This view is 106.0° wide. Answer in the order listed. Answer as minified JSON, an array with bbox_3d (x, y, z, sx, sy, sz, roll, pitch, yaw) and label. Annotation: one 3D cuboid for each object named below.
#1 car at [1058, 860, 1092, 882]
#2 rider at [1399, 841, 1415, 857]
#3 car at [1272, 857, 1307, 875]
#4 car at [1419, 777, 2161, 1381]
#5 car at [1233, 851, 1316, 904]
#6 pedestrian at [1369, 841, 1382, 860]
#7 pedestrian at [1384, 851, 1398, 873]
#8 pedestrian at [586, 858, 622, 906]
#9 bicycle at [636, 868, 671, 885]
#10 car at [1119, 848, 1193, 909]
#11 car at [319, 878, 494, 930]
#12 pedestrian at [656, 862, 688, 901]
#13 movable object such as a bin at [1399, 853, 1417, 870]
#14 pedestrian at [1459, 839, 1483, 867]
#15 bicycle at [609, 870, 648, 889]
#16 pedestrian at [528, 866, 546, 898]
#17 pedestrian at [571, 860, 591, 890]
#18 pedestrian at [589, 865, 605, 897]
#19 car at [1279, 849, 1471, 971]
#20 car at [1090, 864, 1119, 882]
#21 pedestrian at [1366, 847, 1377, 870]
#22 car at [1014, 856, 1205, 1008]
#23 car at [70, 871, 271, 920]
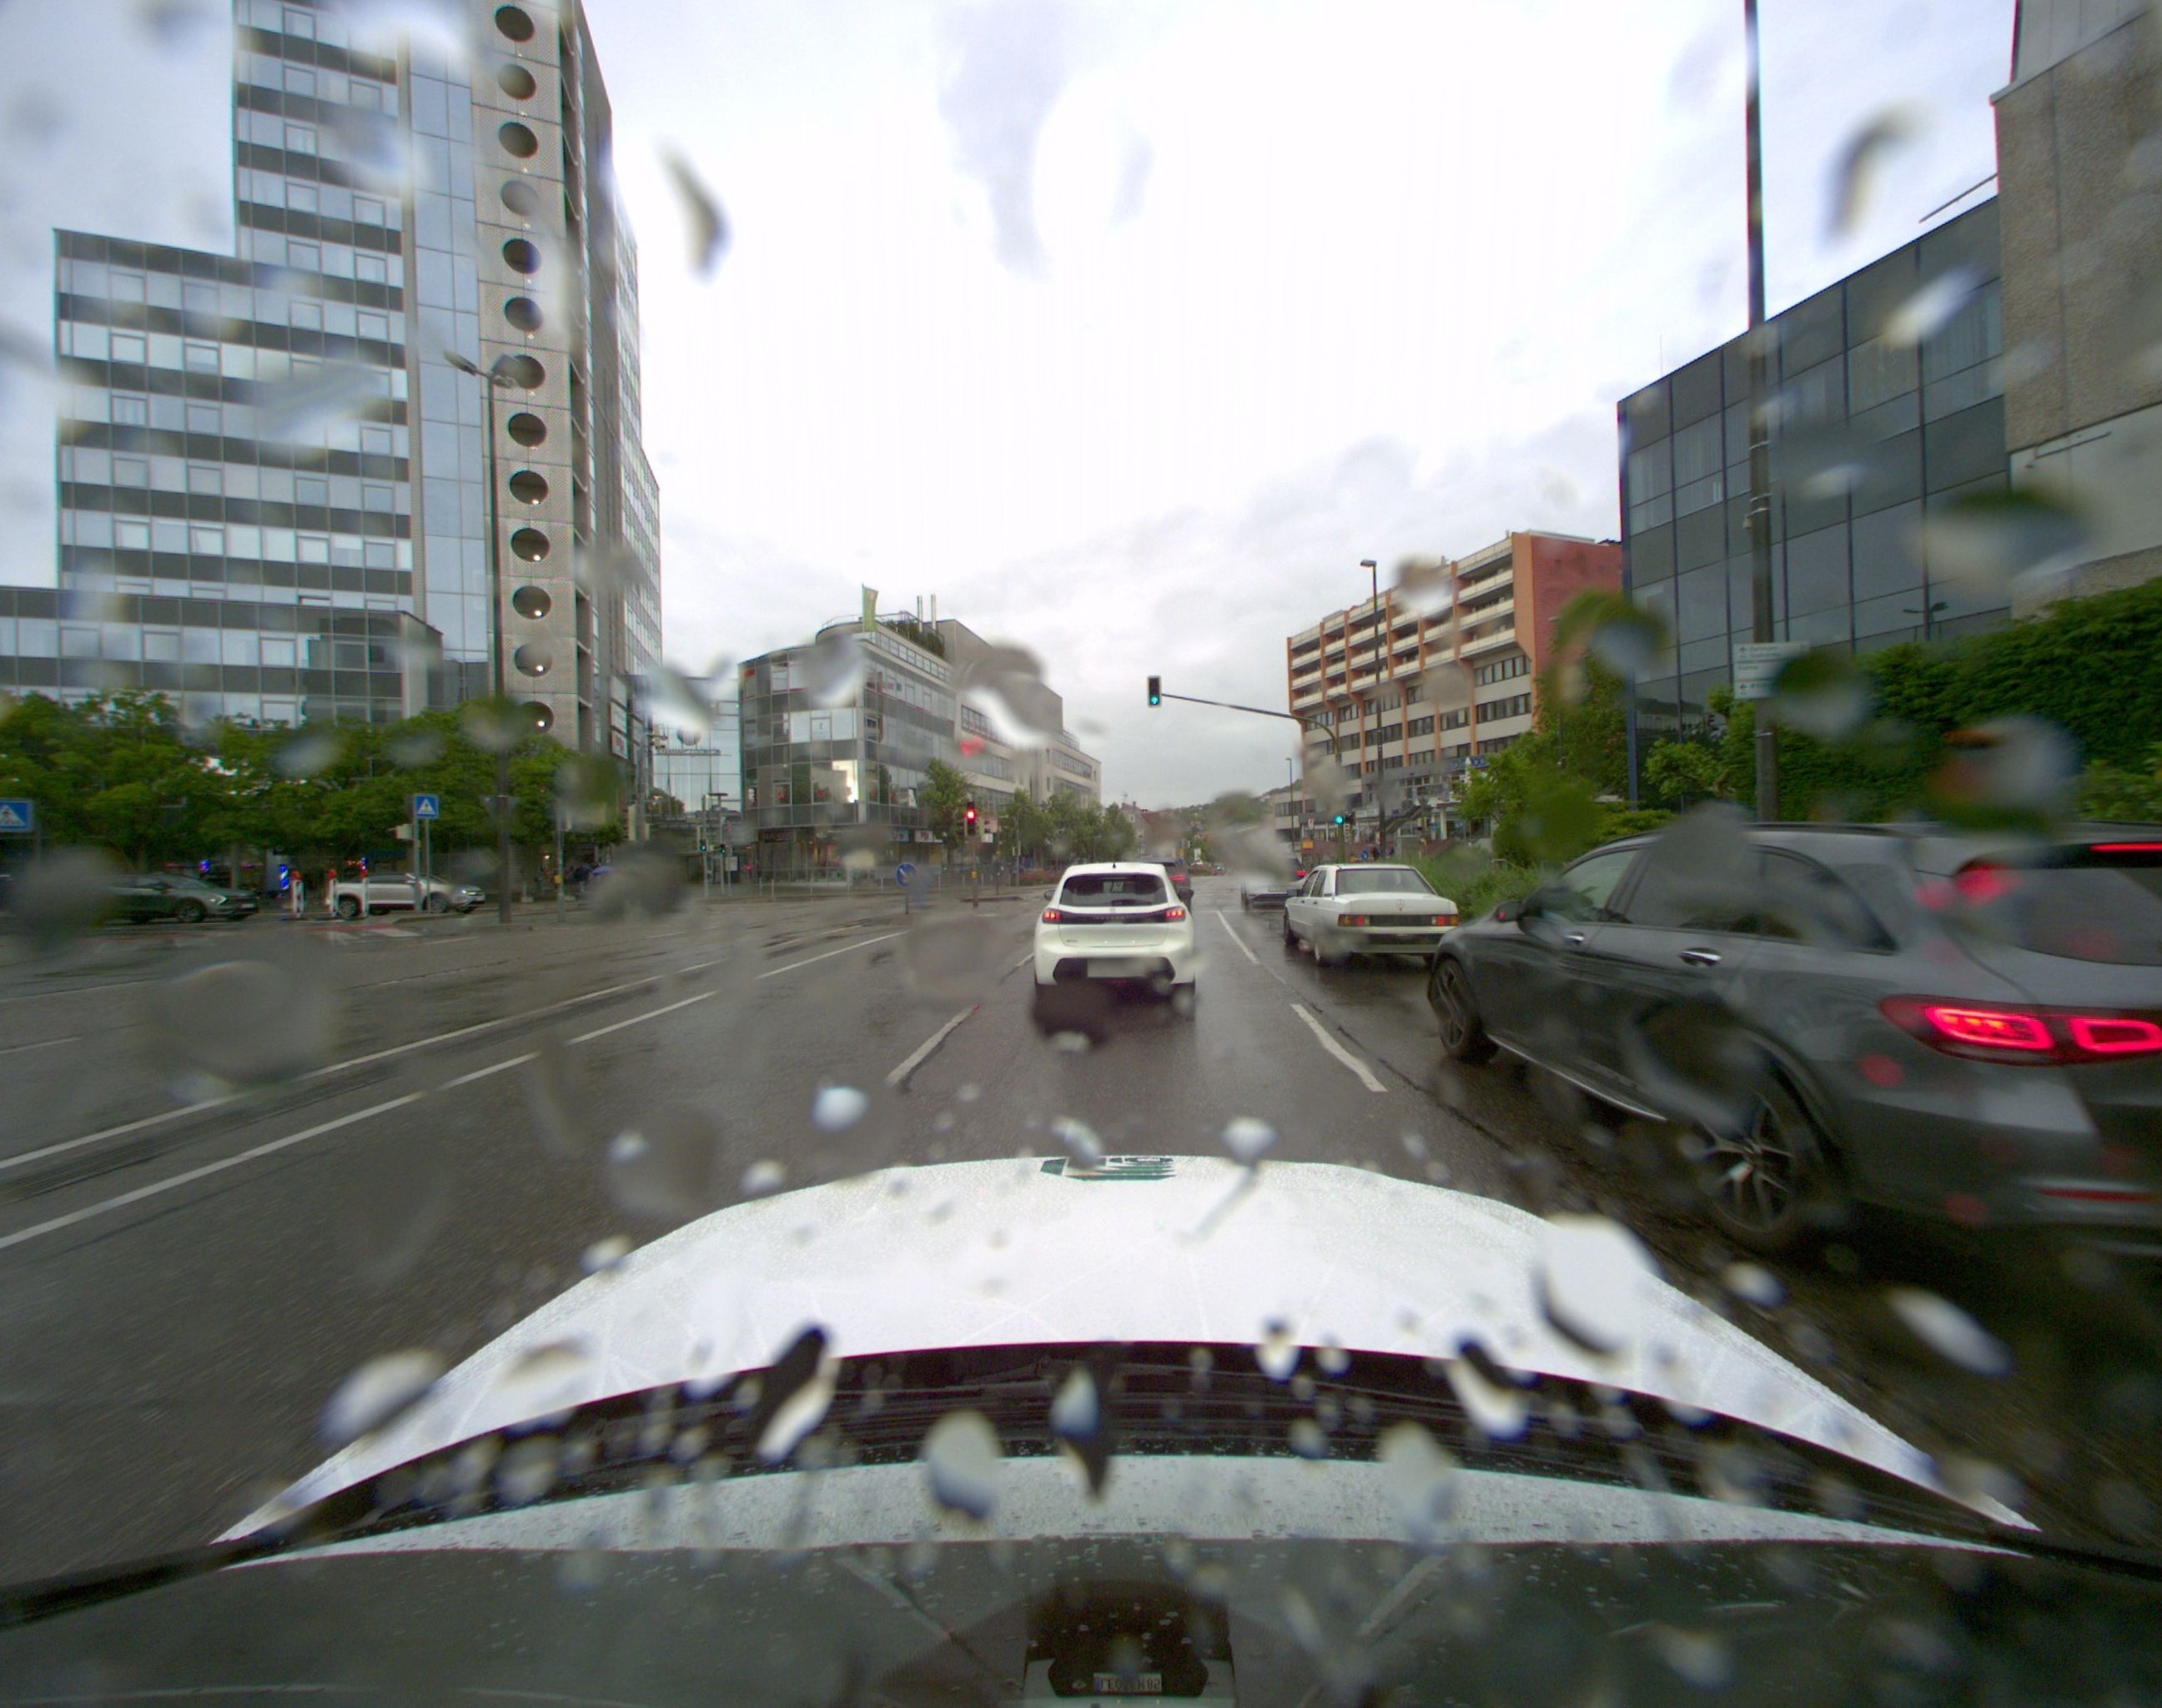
[{"bbox_3d":[-0.445,1.362,66.956,1.908,1.632,4.917,-1,0,11],"label":"car"},{"bbox_3d":[26.889,-0.420,67.188,0.916,1.284,1.094,-5,0,12],"label":"rider"},{"bbox_3d":[28.203,1.680,110.302,2.002,2.226,4.936,-2,-1,-23],"label":"car"},{"bbox_3d":[3.544,0.596,4.332,1.893,1.621,4.339,-1,0,3],"label":"car"},{"bbox_3d":[5.574,0.661,23.829,1.902,1.400,3.463,-2,-1,6],"label":"car"},{"bbox_3d":[20.893,-0.243,57.788,0.702,1.345,0.658,-3,-2,16],"label":"pedestrian"},{"bbox_3d":[23.658,0.617,62.160,0.790,1.668,0.932,-2,-1,6],"label":"pedestrian"},{"bbox_3d":[-20.435,1.185,34.943,1.168,2.013,1.317,-1,0,-25],"label":"pedestrian"},{"bbox_3d":[-32.840,1.699,62.532,2.281,1.247,0.672,-2,-1,-20],"label":"bicycle"},{"bbox_3d":[2.148,0.636,22.556,1.805,1.530,3.821,-1,-1,8],"label":"car"},{"bbox_3d":[-23.040,1.684,28.009,4.197,1.595,1.861,0,0,-14],"label":"car"},{"bbox_3d":[-19.608,1.314,39.041,0.839,1.819,1.028,-2,-1,14],"label":"pedestrian"},{"bbox_3d":[26.963,0.614,67.226,1.122,1.332,1.459,-1,-1,12],"label":"movable object such as a bin"},{"bbox_3d":[23.792,-0.055,49.693,0.825,1.691,1.129,-2,-1,1],"label":"pedestrian"},{"bbox_3d":[-32.022,1.818,57.671,2.281,1.247,0.672,-2,-1,-20],"label":"bicycle"},{"bbox_3d":[-33.354,1.712,49.940,0.823,1.868,0.758,-2,-1,45],"label":"pedestrian"},{"bbox_3d":[-31.406,1.320,51.171,0.833,1.868,0.749,-2,-1,-18],"label":"pedestrian"},{"bbox_3d":[-30.531,1.682,51.389,0.714,2.013,0.760,-1,0,-20],"label":"pedestrian"},{"bbox_3d":[4.020,0.694,11.845,1.626,1.448,4.275,0,-1,6],"label":"car"},{"bbox_3d":[2.354,1.830,80.270,1.761,1.594,4.604,-6,-2,13],"label":"car"},{"bbox_3d":[20.579,0.305,57.676,0.702,1.607,0.658,1,0,17],"label":"pedestrian"},{"bbox_3d":[0.504,0.774,9.912,1.862,1.462,3.880,-1,0,7],"label":"car"},{"bbox_3d":[-29.739,1.319,26.748,4.048,1.420,1.863,-1,0,-12],"label":"car"}]
